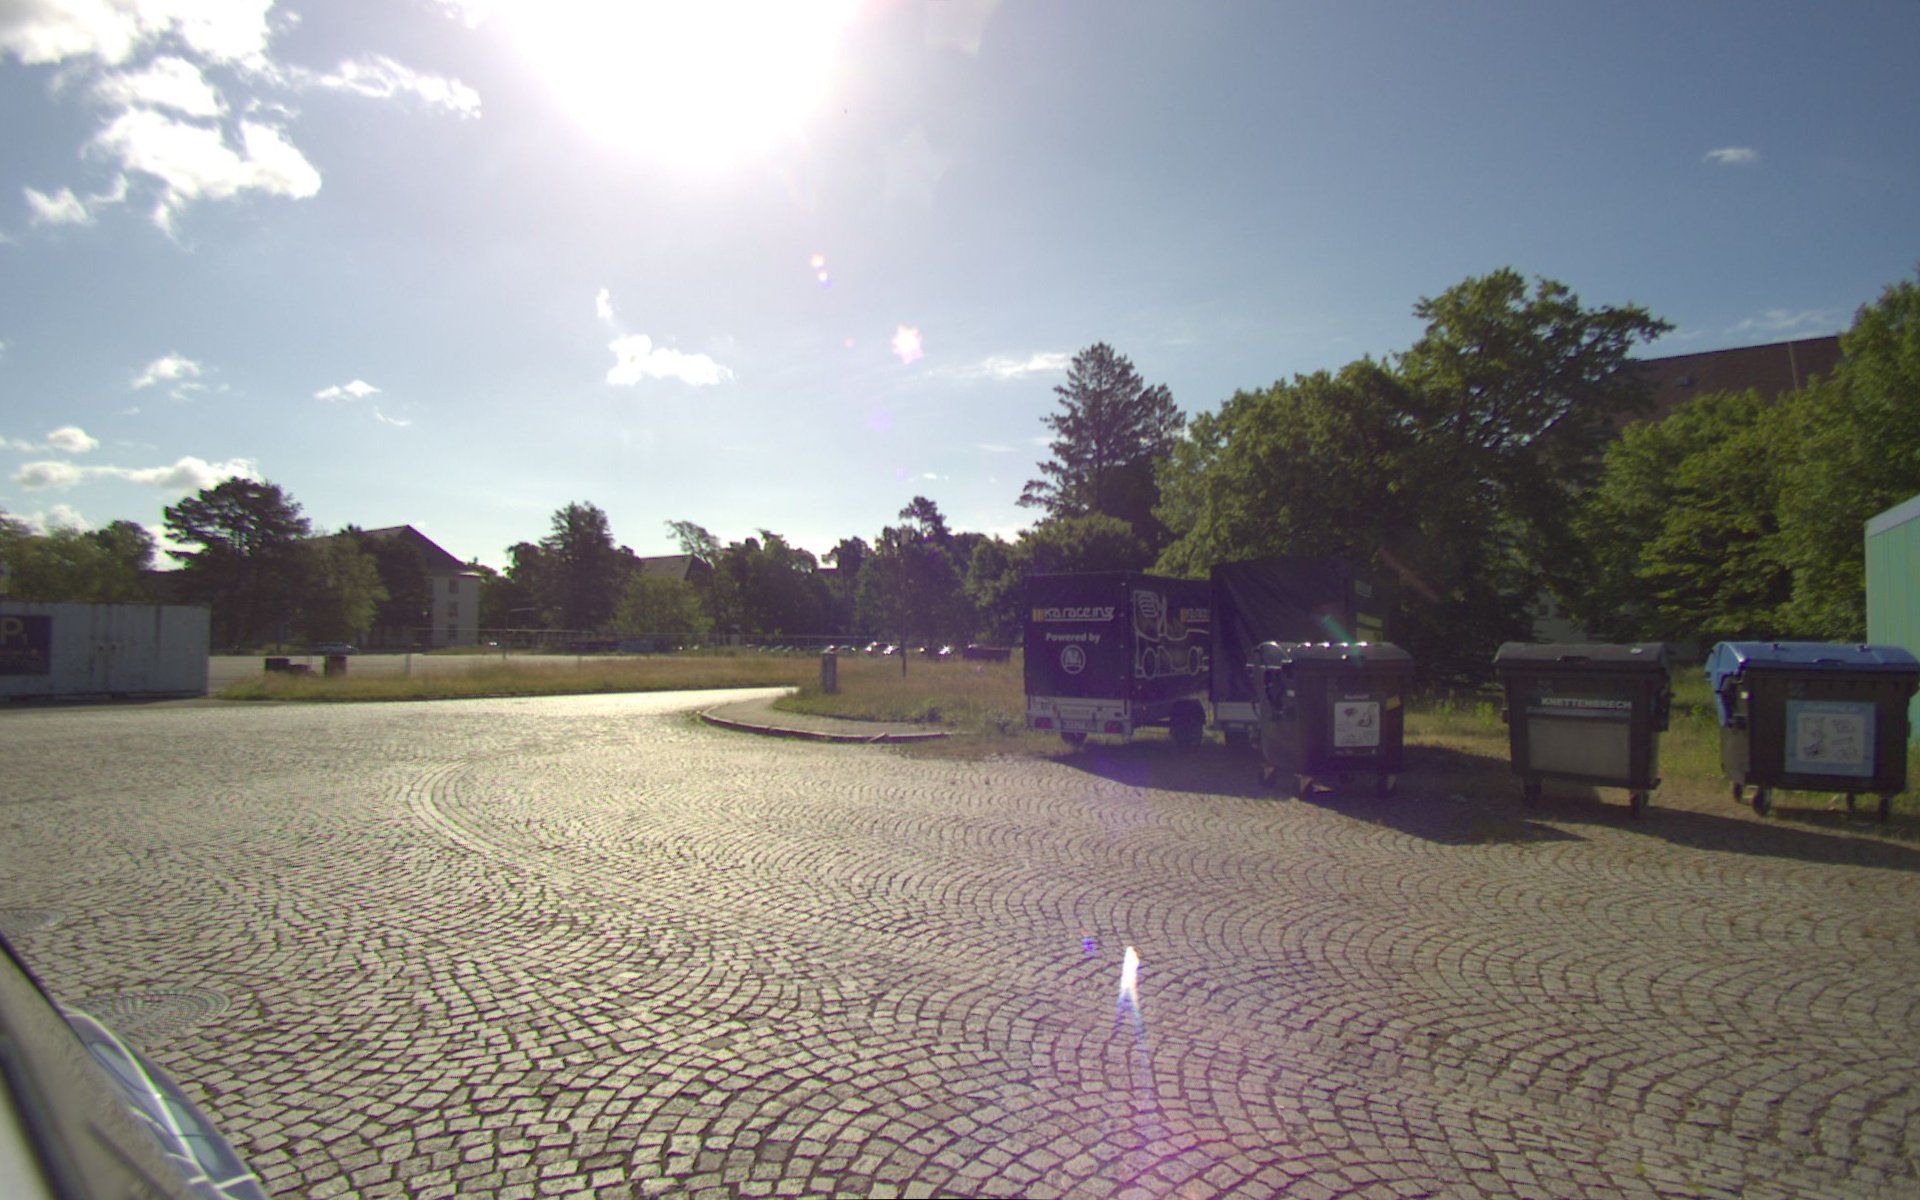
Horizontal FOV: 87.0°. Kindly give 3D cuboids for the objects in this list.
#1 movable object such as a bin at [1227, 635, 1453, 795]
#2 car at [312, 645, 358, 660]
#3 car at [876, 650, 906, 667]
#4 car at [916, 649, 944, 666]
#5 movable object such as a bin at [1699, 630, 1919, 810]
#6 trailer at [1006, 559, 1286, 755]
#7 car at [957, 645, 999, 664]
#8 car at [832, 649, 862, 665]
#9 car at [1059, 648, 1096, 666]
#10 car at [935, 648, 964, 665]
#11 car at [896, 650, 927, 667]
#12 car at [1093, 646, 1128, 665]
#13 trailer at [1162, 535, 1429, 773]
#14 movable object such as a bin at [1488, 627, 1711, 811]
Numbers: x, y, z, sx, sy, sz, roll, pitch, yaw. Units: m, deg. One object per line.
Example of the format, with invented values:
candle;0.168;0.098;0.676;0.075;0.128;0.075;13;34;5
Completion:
movable object such as a bin;3.580;1.051;9.713;1.511;1.397;1.388;1;-3;-8
car;-71.134;5.955;115.183;1.993;1.594;3.957;-1;-3;31
car;-8.754;7.412;128.462;1.739;2.029;3.806;-2;-3;35
car;-3.719;7.079;124.858;1.739;2.029;3.577;-2;-3;35
movable object such as a bin;7.460;0.971;8.655;1.526;1.397;1.375;-1;-3;24
trailer;2.822;0.790;14.488;2.133;2.315;4.612;-2;-3;36
car;2.195;6.578;121.883;1.996;2.029;5.961;-4;-3;35
car;-14.843;7.534;133.297;1.740;2.029;3.803;-2;-3;37
car;13.103;6.330;112.786;2.243;1.853;4.296;-2;-3;36
car;-1.273;6.934;123.475;1.739;2.029;3.577;-2;-3;35
car;-6.116;7.414;128.255;1.995;2.029;3.954;-2;-4;34
car;16.402;6.010;110.066;2.240;2.029;4.302;-1;-3;32
trailer;4.426;0.659;12.765;2.089;2.373;4.921;-2;-3;32
movable object such as a bin;5.623;0.973;8.903;1.533;1.433;1.284;-2;-4;37
